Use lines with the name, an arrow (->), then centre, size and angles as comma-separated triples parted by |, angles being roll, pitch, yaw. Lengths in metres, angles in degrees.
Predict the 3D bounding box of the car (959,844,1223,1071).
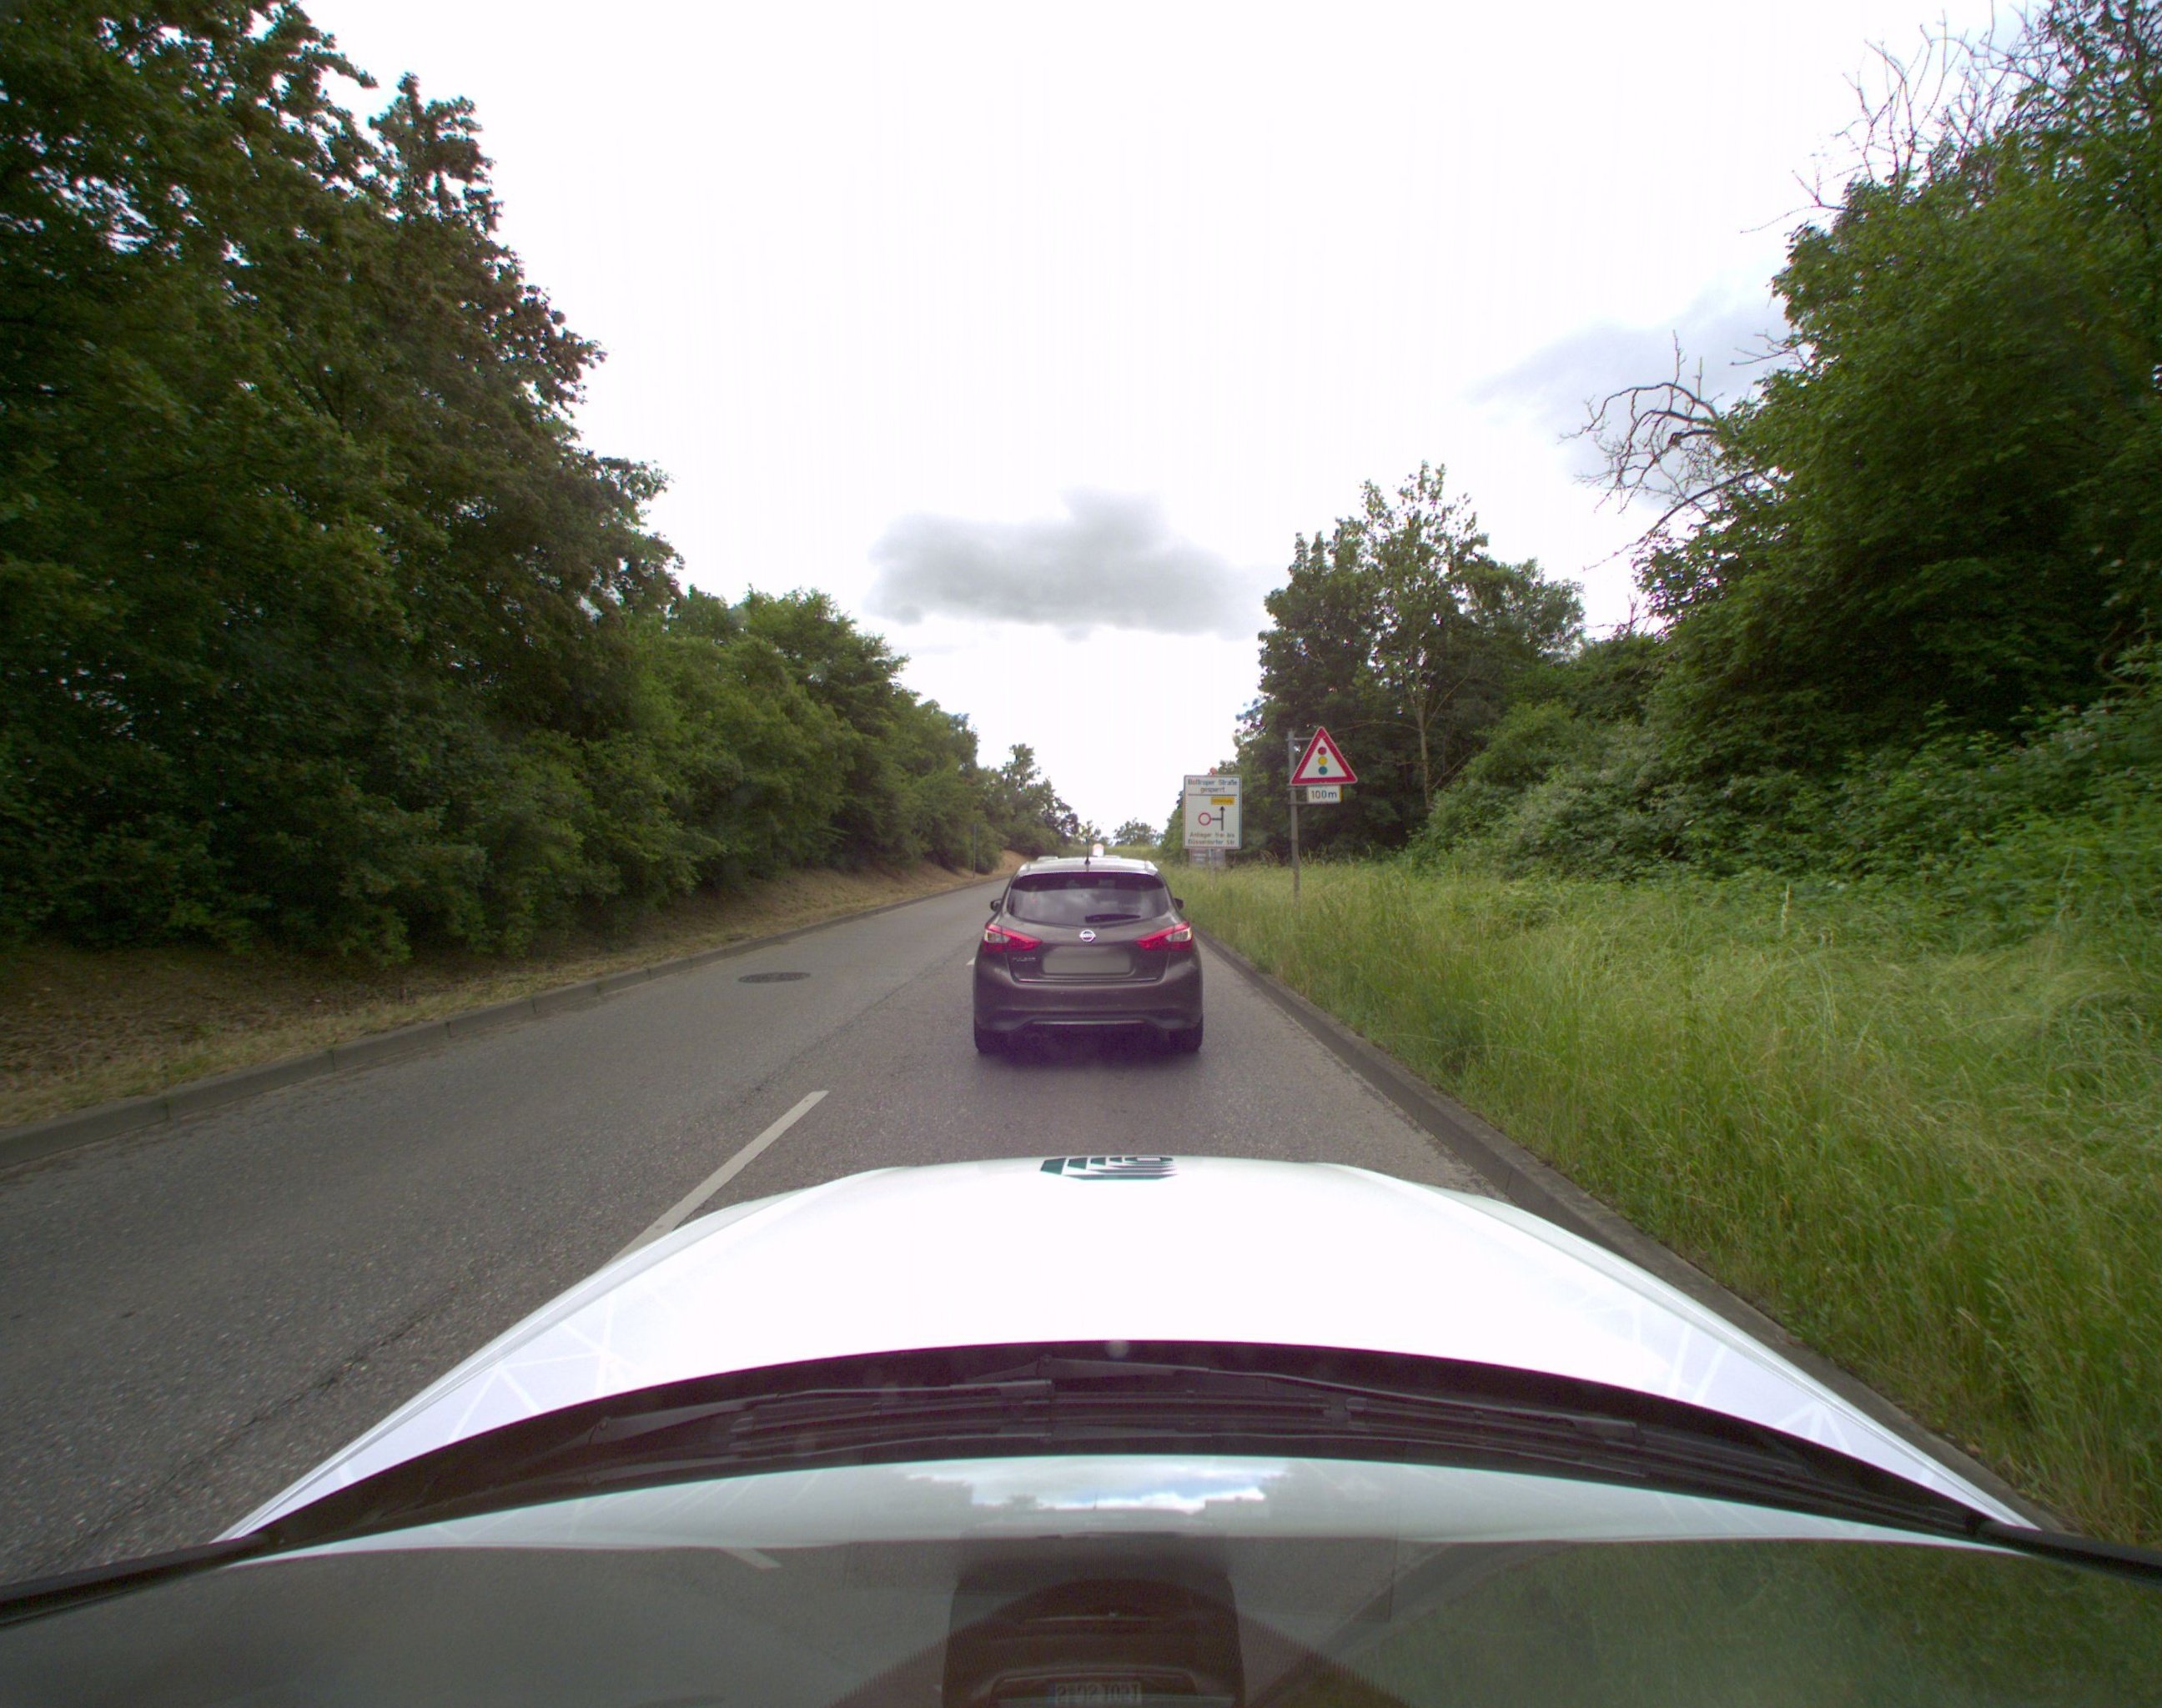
car -> 0.083, 0.722, 7.454 | 1.824, 1.556, 3.499 | -1, 0, 0

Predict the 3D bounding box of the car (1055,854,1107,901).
car -> 0.055, 0.803, 29.396 | 1.729, 1.556, 3.545 | -1, 0, 2

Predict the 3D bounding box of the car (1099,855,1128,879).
car -> 2.238, 0.834, 55.057 | 1.727, 1.526, 3.549 | -1, 0, 6

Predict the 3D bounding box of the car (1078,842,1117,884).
car -> 0.865, 0.420, 40.172 | 1.728, 1.935, 3.546 | -1, 0, 3

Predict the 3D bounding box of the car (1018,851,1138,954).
car -> 0.026, 0.757, 14.453 | 1.823, 1.556, 3.626 | -1, 0, 2

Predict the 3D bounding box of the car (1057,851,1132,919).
car -> 0.397, 0.728, 20.966 | 1.729, 1.556, 3.545 | -1, 0, 2

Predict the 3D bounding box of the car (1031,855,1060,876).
car -> -2.550, 0.804, 58.905 | 1.634, 1.400, 3.826 | -1, 0, 5
